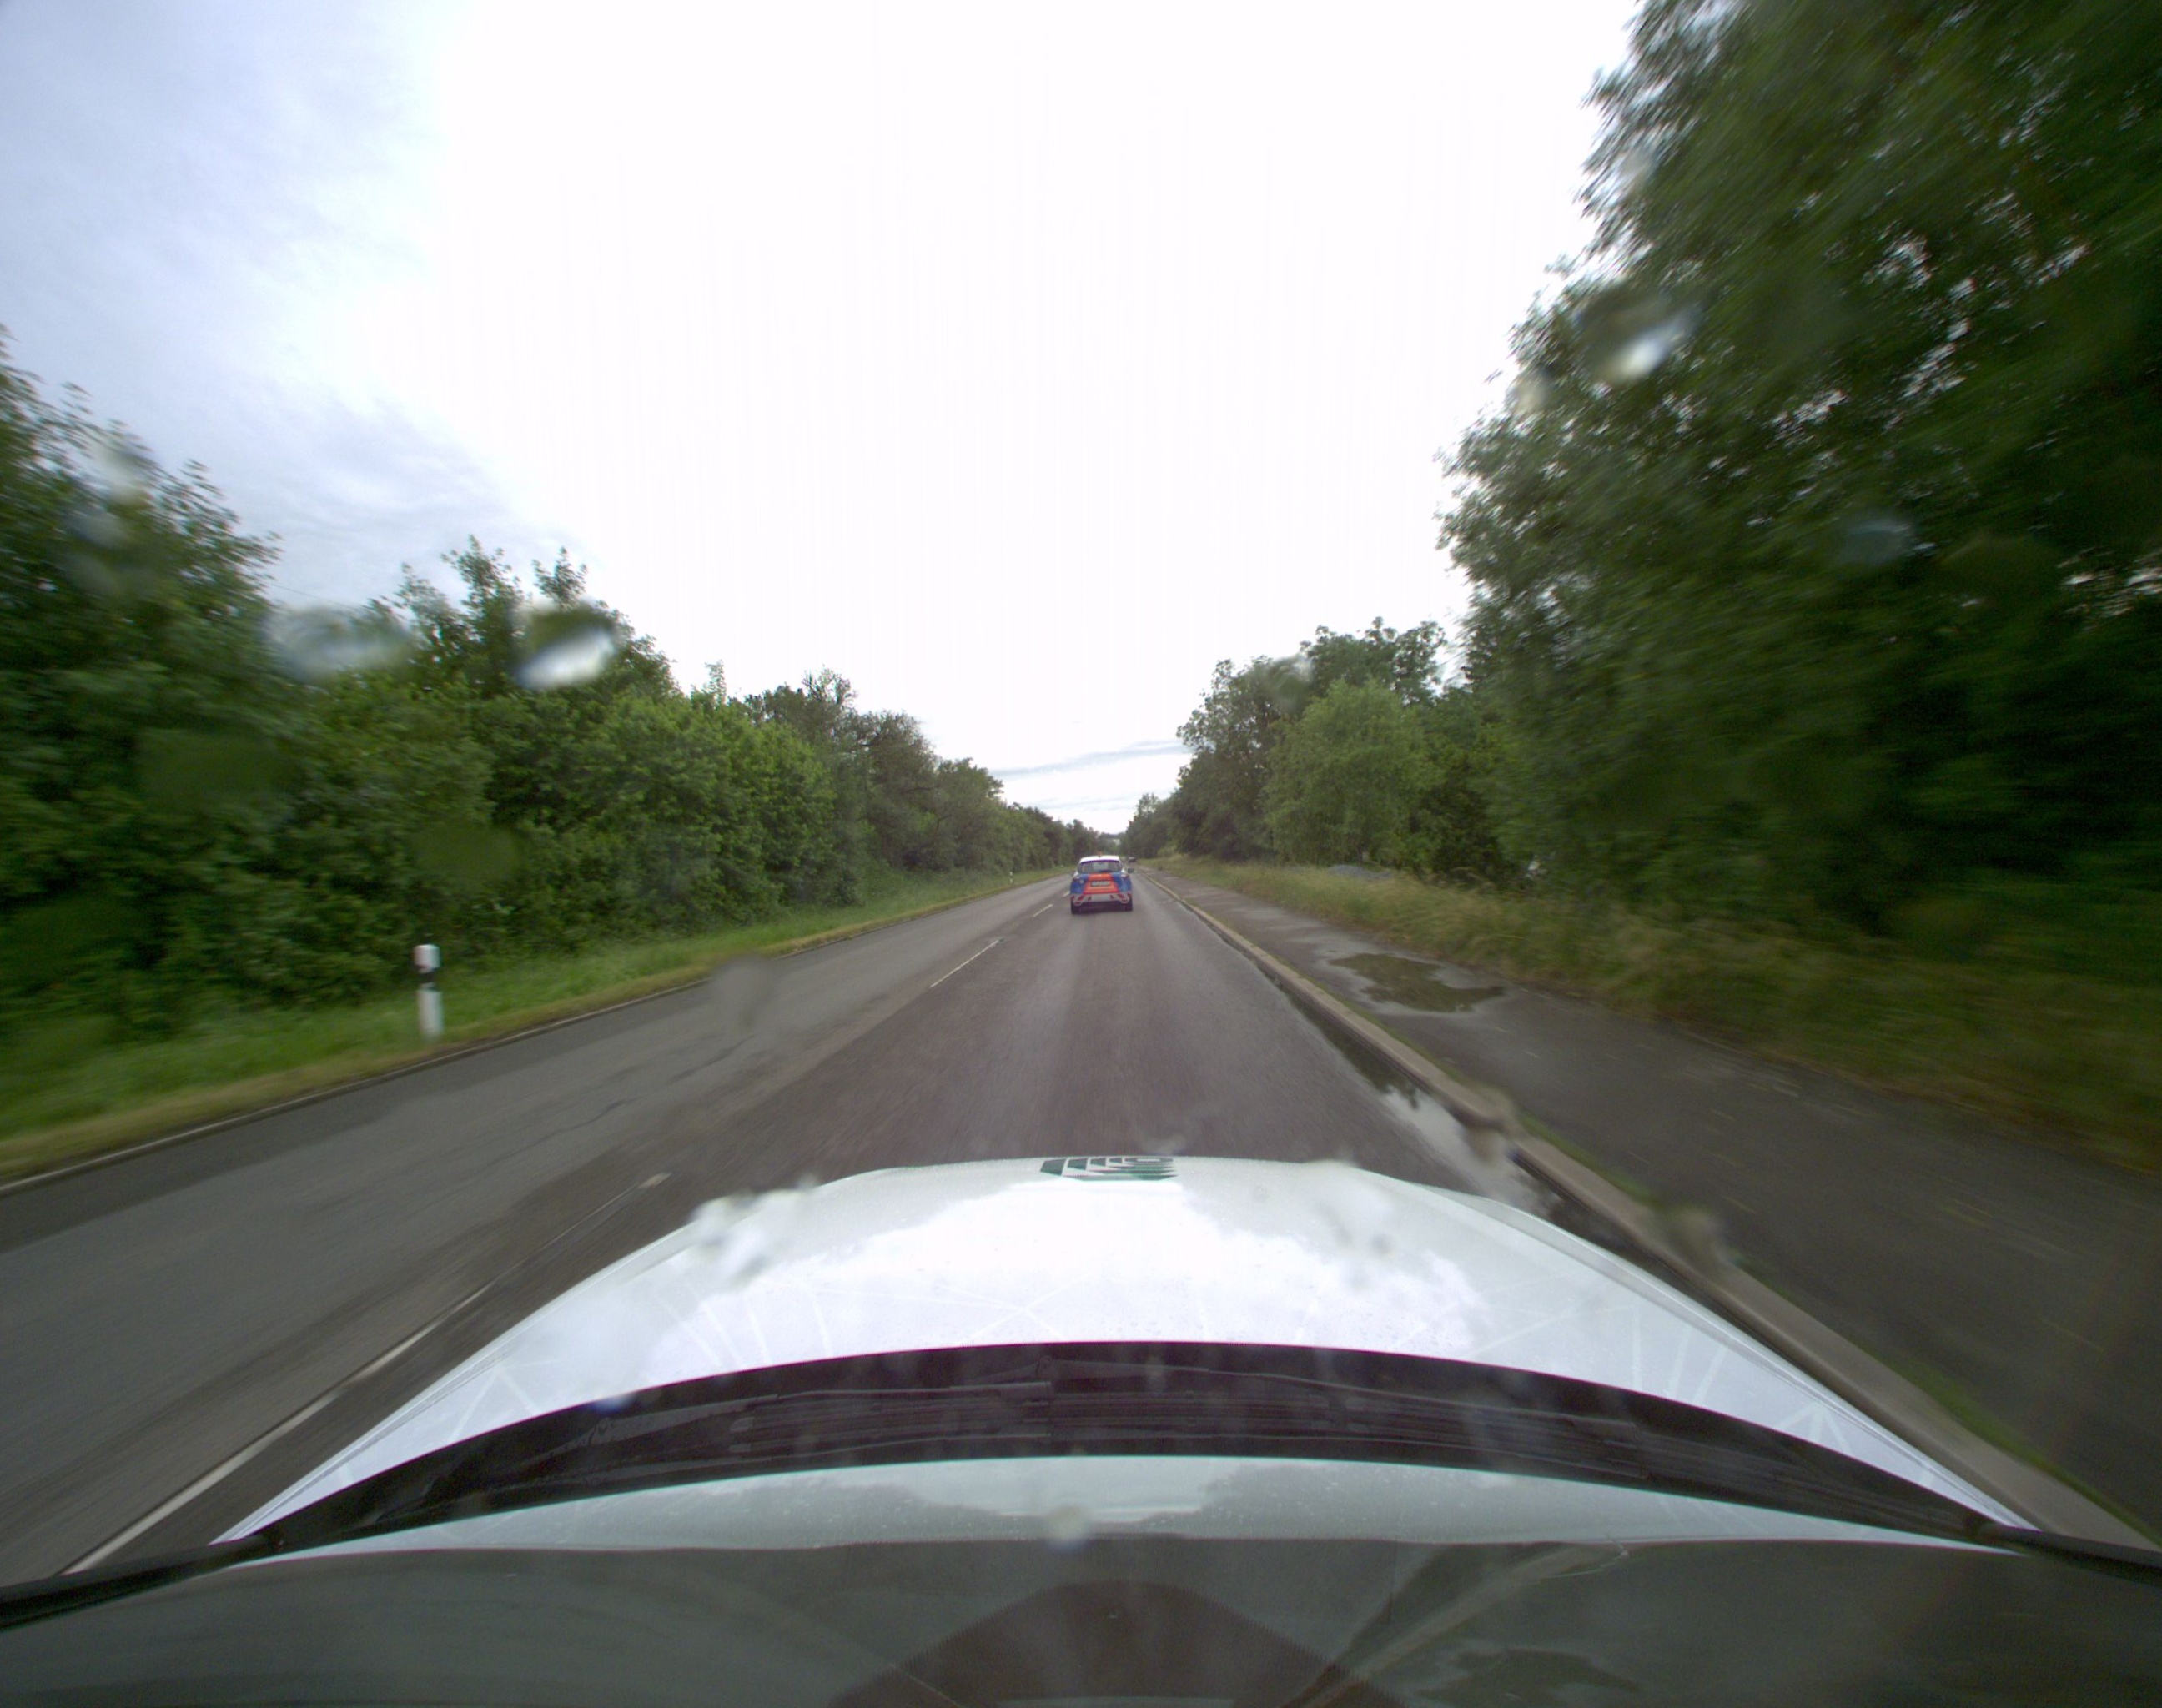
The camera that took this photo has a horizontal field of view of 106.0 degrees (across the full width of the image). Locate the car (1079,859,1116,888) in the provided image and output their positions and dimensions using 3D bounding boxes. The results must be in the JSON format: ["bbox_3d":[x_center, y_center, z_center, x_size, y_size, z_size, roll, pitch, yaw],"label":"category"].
[{"bbox_3d":[0.871,0.962,41.057,1.592,1.287,3.479,-4,-1,3],"label":"car"}]

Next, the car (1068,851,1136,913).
[{"bbox_3d":[0.644,0.748,23.651,1.745,1.555,3.795,-3,0,2],"label":"car"}]

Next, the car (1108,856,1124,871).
[{"bbox_3d":[4.526,1.227,105.480,1.933,1.723,4.066,-5,0,3],"label":"car"}]

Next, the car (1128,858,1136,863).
[{"bbox_3d":[13.385,1.694,212.569,1.985,1.376,4.003,-4,-1,3],"label":"car"}]
